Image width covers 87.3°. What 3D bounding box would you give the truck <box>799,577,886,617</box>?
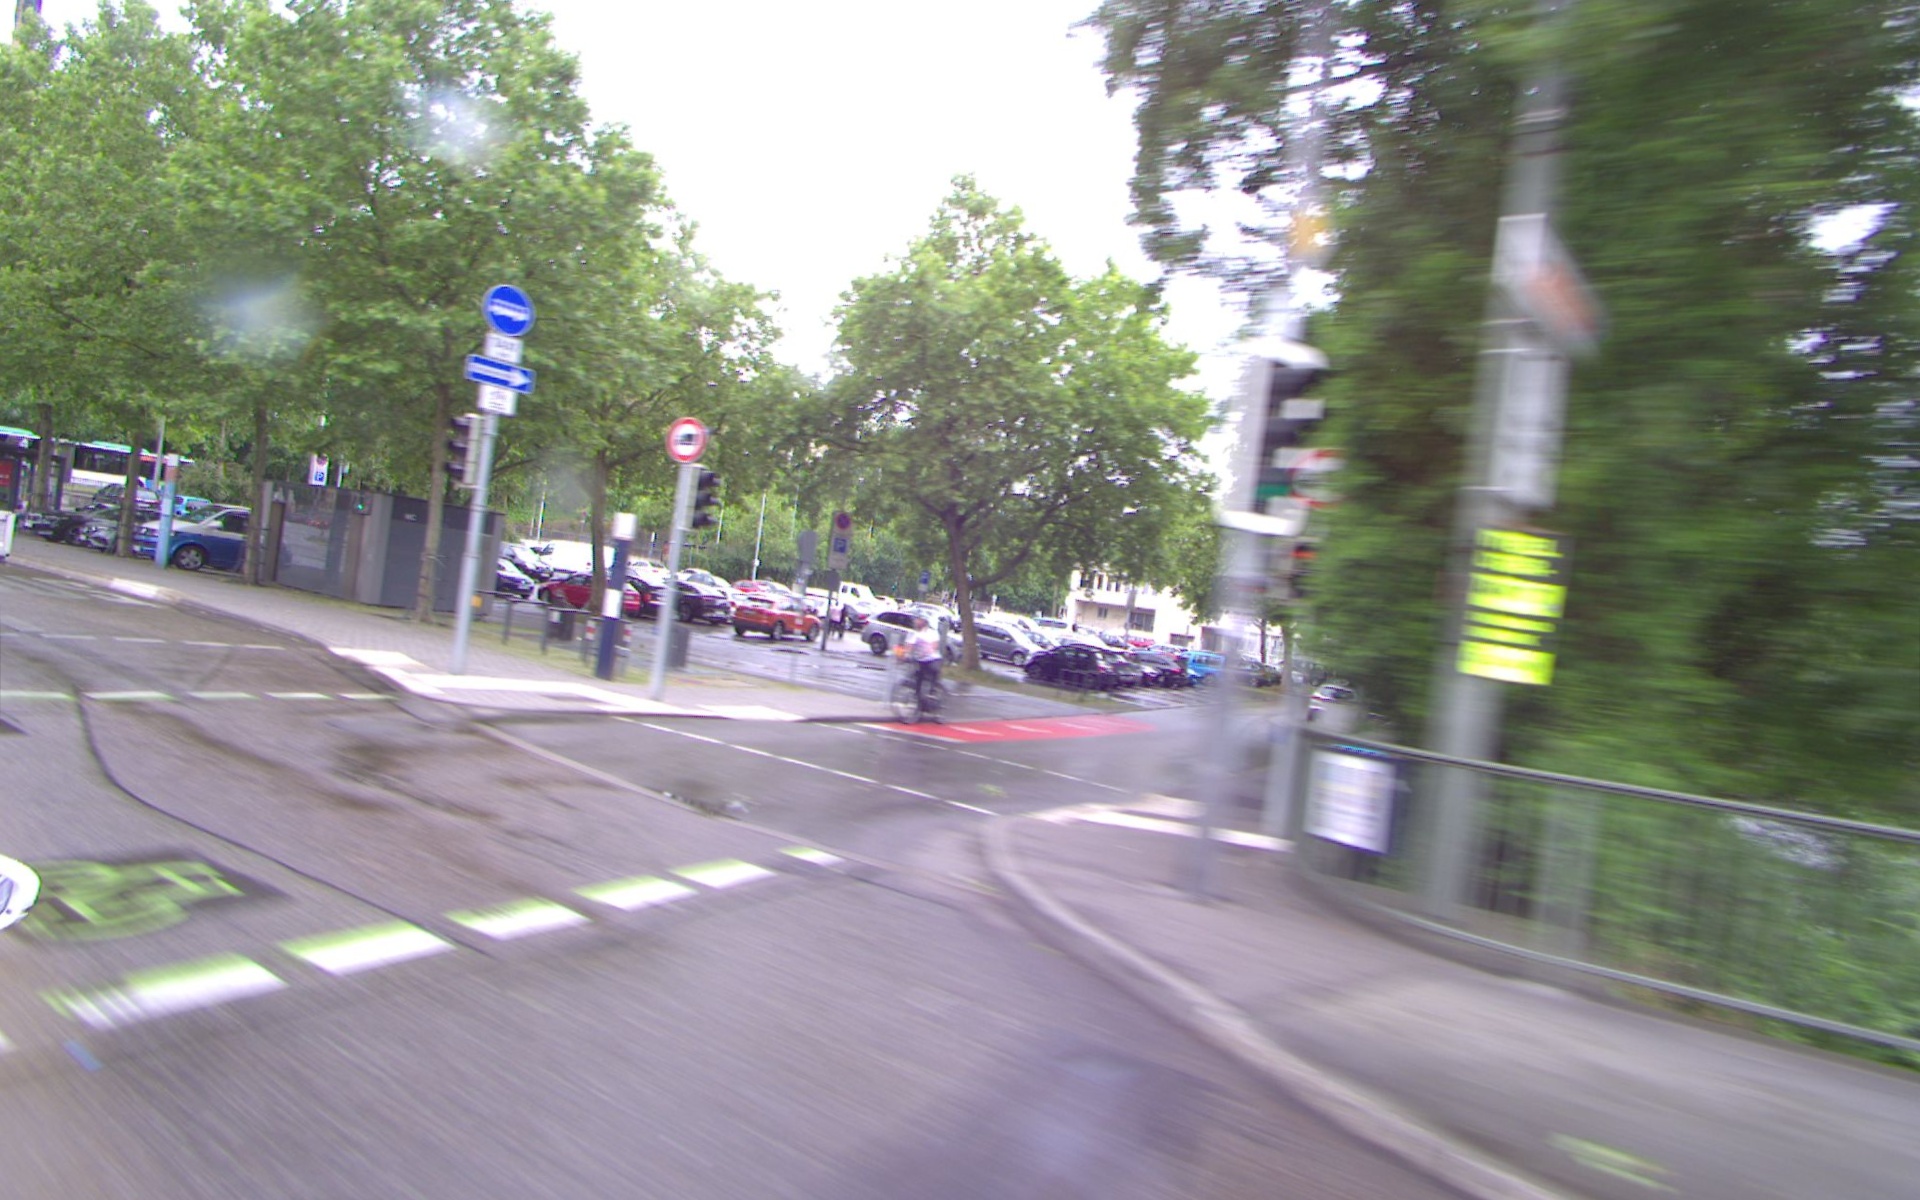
[{"bbox_3d":[-9.560,-0.217,81.719,6.407,2.264,2.449,8,-2,25],"label":"truck"}]

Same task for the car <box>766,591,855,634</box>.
[{"bbox_3d":[-7.680,0.655,51.718,4.129,1.568,1.811,7,-2,28],"label":"car"}]

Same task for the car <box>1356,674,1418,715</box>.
[{"bbox_3d":[20.627,4.570,48.527,1.967,1.564,3.995,7,-2,33],"label":"car"}]

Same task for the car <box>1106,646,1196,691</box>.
[{"bbox_3d":[9.396,3.369,49.538,3.835,1.605,1.806,8,-1,26],"label":"car"}]

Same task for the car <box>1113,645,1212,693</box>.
[{"bbox_3d":[10.496,3.571,52.185,4.515,1.777,1.936,7,-2,28],"label":"car"}]

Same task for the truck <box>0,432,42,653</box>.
[{"bbox_3d":[-11.351,-0.881,9.952,4.639,2.048,2.125,8,-2,34],"label":"truck"}]

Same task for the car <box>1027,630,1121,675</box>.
[{"bbox_3d":[6.218,2.852,54.934,4.515,1.777,1.936,7,-2,28],"label":"car"}]

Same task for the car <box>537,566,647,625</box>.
[{"bbox_3d":[-13.682,-0.166,37.367,3.572,1.671,1.599,8,1,23],"label":"car"}]

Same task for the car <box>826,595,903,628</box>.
[{"bbox_3d":[-6.275,0.783,66.143,4.511,1.453,2.001,8,-2,23],"label":"car"}]

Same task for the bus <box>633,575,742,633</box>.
[{"bbox_3d":[-11.236,0.162,41.400,3.933,1.743,1.998,7,-2,31],"label":"bus"}]

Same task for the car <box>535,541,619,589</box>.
[{"bbox_3d":[-21.255,-1.931,55.801,3.993,2.037,1.999,8,-1,28],"label":"car"}]

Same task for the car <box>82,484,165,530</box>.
[{"bbox_3d":[-44.121,-4.903,53.049,4.155,1.847,1.835,7,-2,30],"label":"car"}]

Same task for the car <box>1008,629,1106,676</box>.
[{"bbox_3d":[5.044,2.727,52.310,4.515,1.777,1.936,7,-2,28],"label":"car"}]

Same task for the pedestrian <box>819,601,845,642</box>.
[{"bbox_3d":[-5.621,0.963,44.165,0.818,1.659,0.748,7,-3,3],"label":"pedestrian"}]

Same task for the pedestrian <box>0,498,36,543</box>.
[{"bbox_3d":[-31.867,-2.687,34.019,0.714,1.373,0.622,7,-1,31],"label":"pedestrian"}]

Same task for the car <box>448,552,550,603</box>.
[{"bbox_3d":[-18.368,-0.902,40.037,3.934,1.450,1.673,8,-1,32],"label":"car"}]

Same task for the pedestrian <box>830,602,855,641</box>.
[{"bbox_3d":[-5.270,0.969,45.093,0.818,1.662,0.746,7,1,6],"label":"pedestrian"}]

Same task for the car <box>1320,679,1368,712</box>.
[{"bbox_3d":[22.834,5.703,59.729,1.729,1.564,3.995,7,-2,33],"label":"car"}]

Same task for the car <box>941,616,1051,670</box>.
[{"bbox_3d":[1.634,1.981,46.324,4.515,1.777,1.936,7,-2,28],"label":"car"}]

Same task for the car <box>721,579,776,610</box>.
[{"bbox_3d":[-14.323,-0.375,68.062,3.355,1.533,1.657,8,-1,36],"label":"car"}]

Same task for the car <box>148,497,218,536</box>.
[{"bbox_3d":[-42.578,-4.565,55.115,3.588,1.636,1.685,7,-2,30],"label":"car"}]

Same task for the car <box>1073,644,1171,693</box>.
[{"bbox_3d":[7.283,3.073,45.305,3.835,1.605,1.806,8,-1,26],"label":"car"}]

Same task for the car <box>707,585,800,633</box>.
[{"bbox_3d":[-9.734,0.419,47.387,3.934,1.670,1.823,7,-2,32],"label":"car"}]

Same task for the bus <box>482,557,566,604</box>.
[{"bbox_3d":[-23.197,-1.052,53.523,3.934,1.968,1.999,5,-5,32],"label":"bus"}]

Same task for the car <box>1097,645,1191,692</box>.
[{"bbox_3d":[8.648,3.245,47.354,3.835,1.605,1.806,8,-1,26],"label":"car"}]

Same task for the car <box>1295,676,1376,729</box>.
[{"bbox_3d":[14.002,3.834,37.395,1.860,1.564,3.995,7,-2,33],"label":"car"}]

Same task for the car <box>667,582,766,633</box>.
[{"bbox_3d":[-10.754,0.323,44.366,3.934,1.670,1.823,7,-2,32],"label":"car"}]

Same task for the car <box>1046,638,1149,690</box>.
[{"bbox_3d":[5.881,2.750,43.119,3.835,1.605,1.806,8,-1,26],"label":"car"}]

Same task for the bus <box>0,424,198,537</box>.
[{"bbox_3d":[-59.674,-8.174,63.681,3.047,5.270,17.958,8,-2,31],"label":"bus"}]

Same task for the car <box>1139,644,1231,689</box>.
[{"bbox_3d":[12.524,3.707,56.010,4.515,1.777,1.936,7,-2,28],"label":"car"}]

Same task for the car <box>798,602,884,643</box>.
[{"bbox_3d":[-6.360,1.202,53.909,4.129,1.568,1.811,7,-2,28],"label":"car"}]

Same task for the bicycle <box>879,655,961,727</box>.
[{"bbox_3d":[-0.670,1.636,17.775,0.510,1.135,1.954,8,-3,23],"label":"bicycle"}]
